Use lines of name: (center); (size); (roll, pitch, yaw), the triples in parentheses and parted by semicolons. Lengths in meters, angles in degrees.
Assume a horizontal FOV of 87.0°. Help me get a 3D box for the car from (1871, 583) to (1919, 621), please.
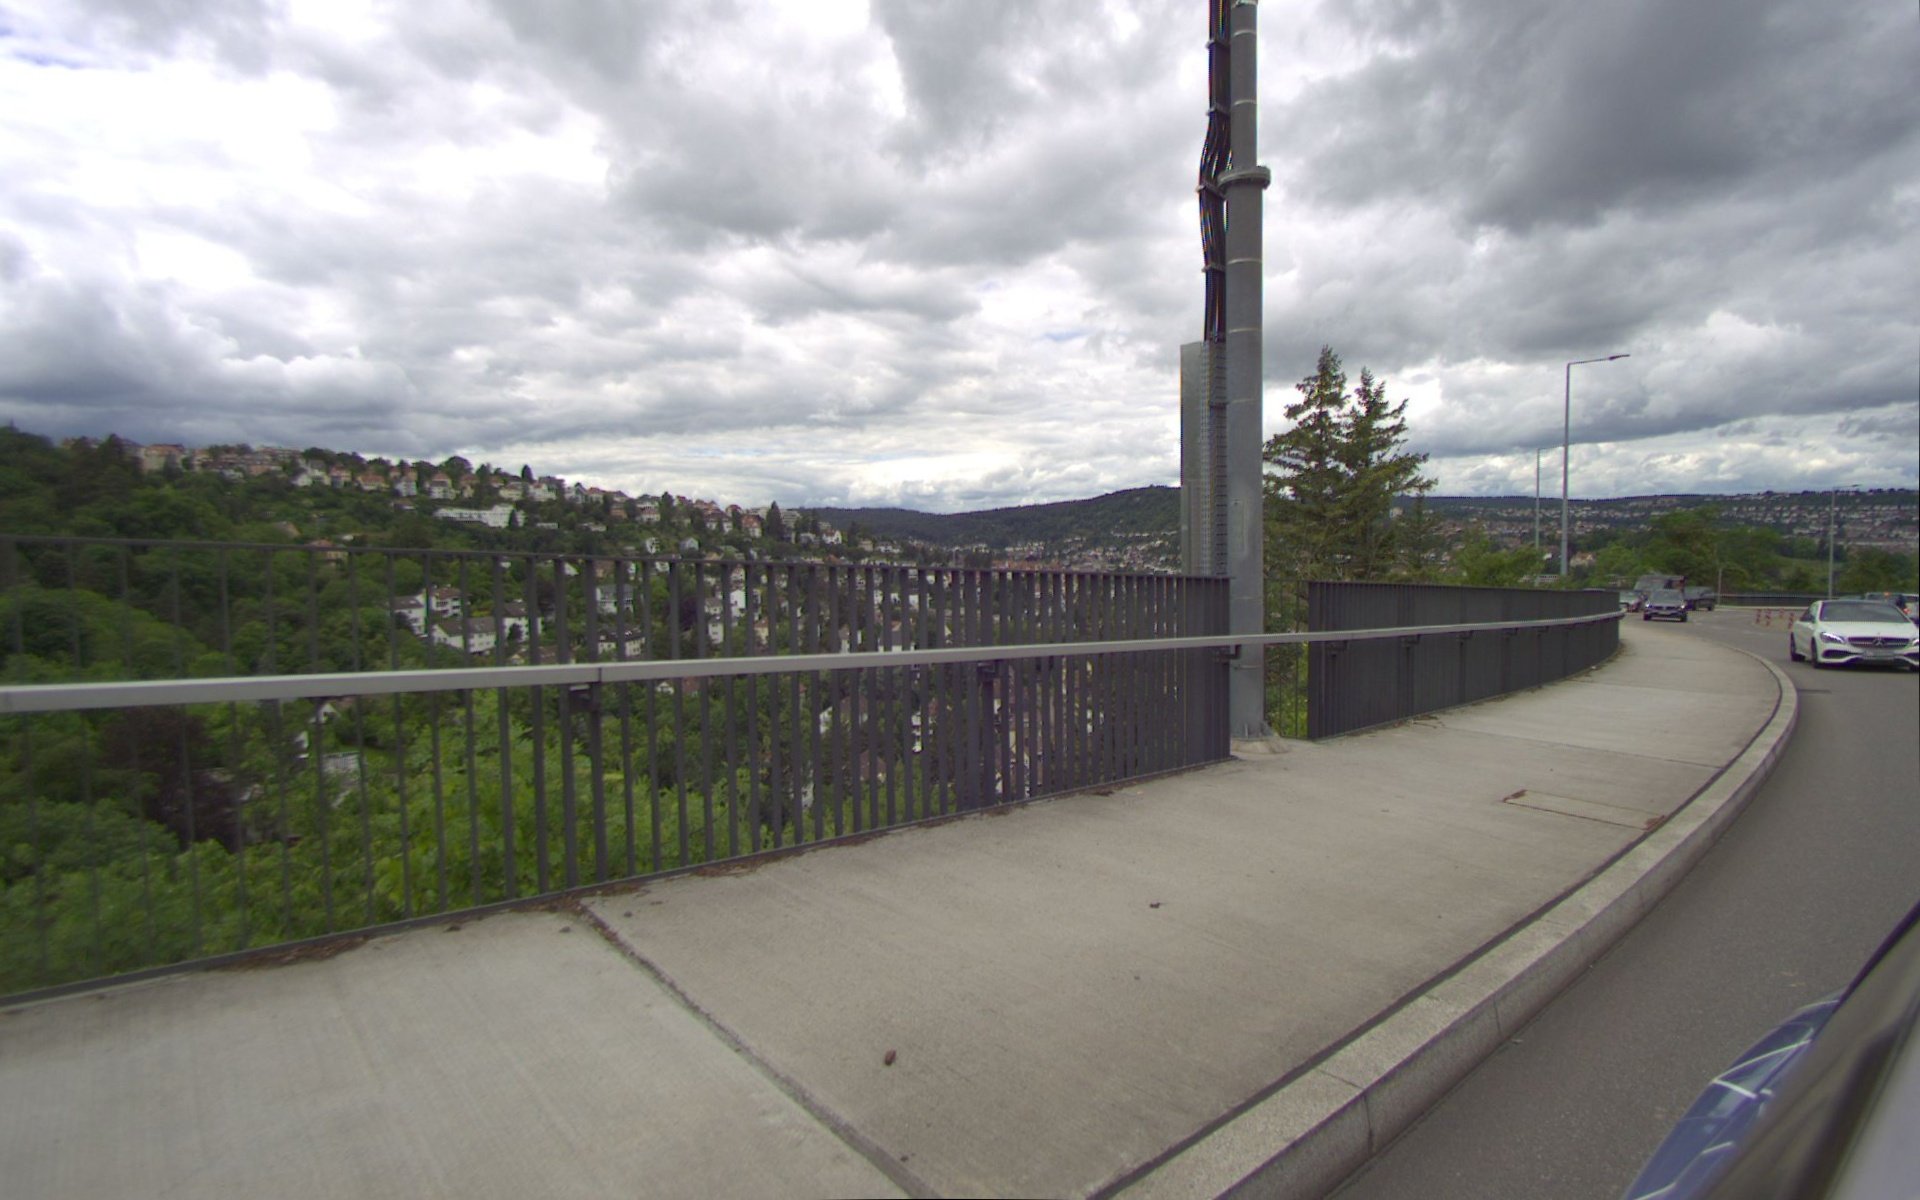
car: (45.861, 0.078, 49.517); (1.849, 1.805, 4.662); (-1, 0, 42)

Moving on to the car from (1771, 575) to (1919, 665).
car: (19.039, 0.376, 21.467); (1.980, 1.740, 3.965); (0, 0, 26)

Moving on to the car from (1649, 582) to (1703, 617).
car: (37.232, -0.059, 52.733); (1.984, 1.692, 4.487); (1, 1, 31)

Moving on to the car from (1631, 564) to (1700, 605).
car: (49.286, -1.085, 70.701); (5.665, 2.551, 2.174); (0, 6, -38)

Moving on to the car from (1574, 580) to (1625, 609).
car: (38.073, -0.360, 60.228); (1.874, 1.562, 4.027); (3, 3, 42)

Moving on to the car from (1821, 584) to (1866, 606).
car: (69.710, -0.399, 79.805); (4.457, 1.692, 1.998); (0, 1, -40)

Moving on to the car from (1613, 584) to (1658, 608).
car: (44.661, -0.312, 66.913); (1.716, 1.448, 3.788); (5, 4, 45)
